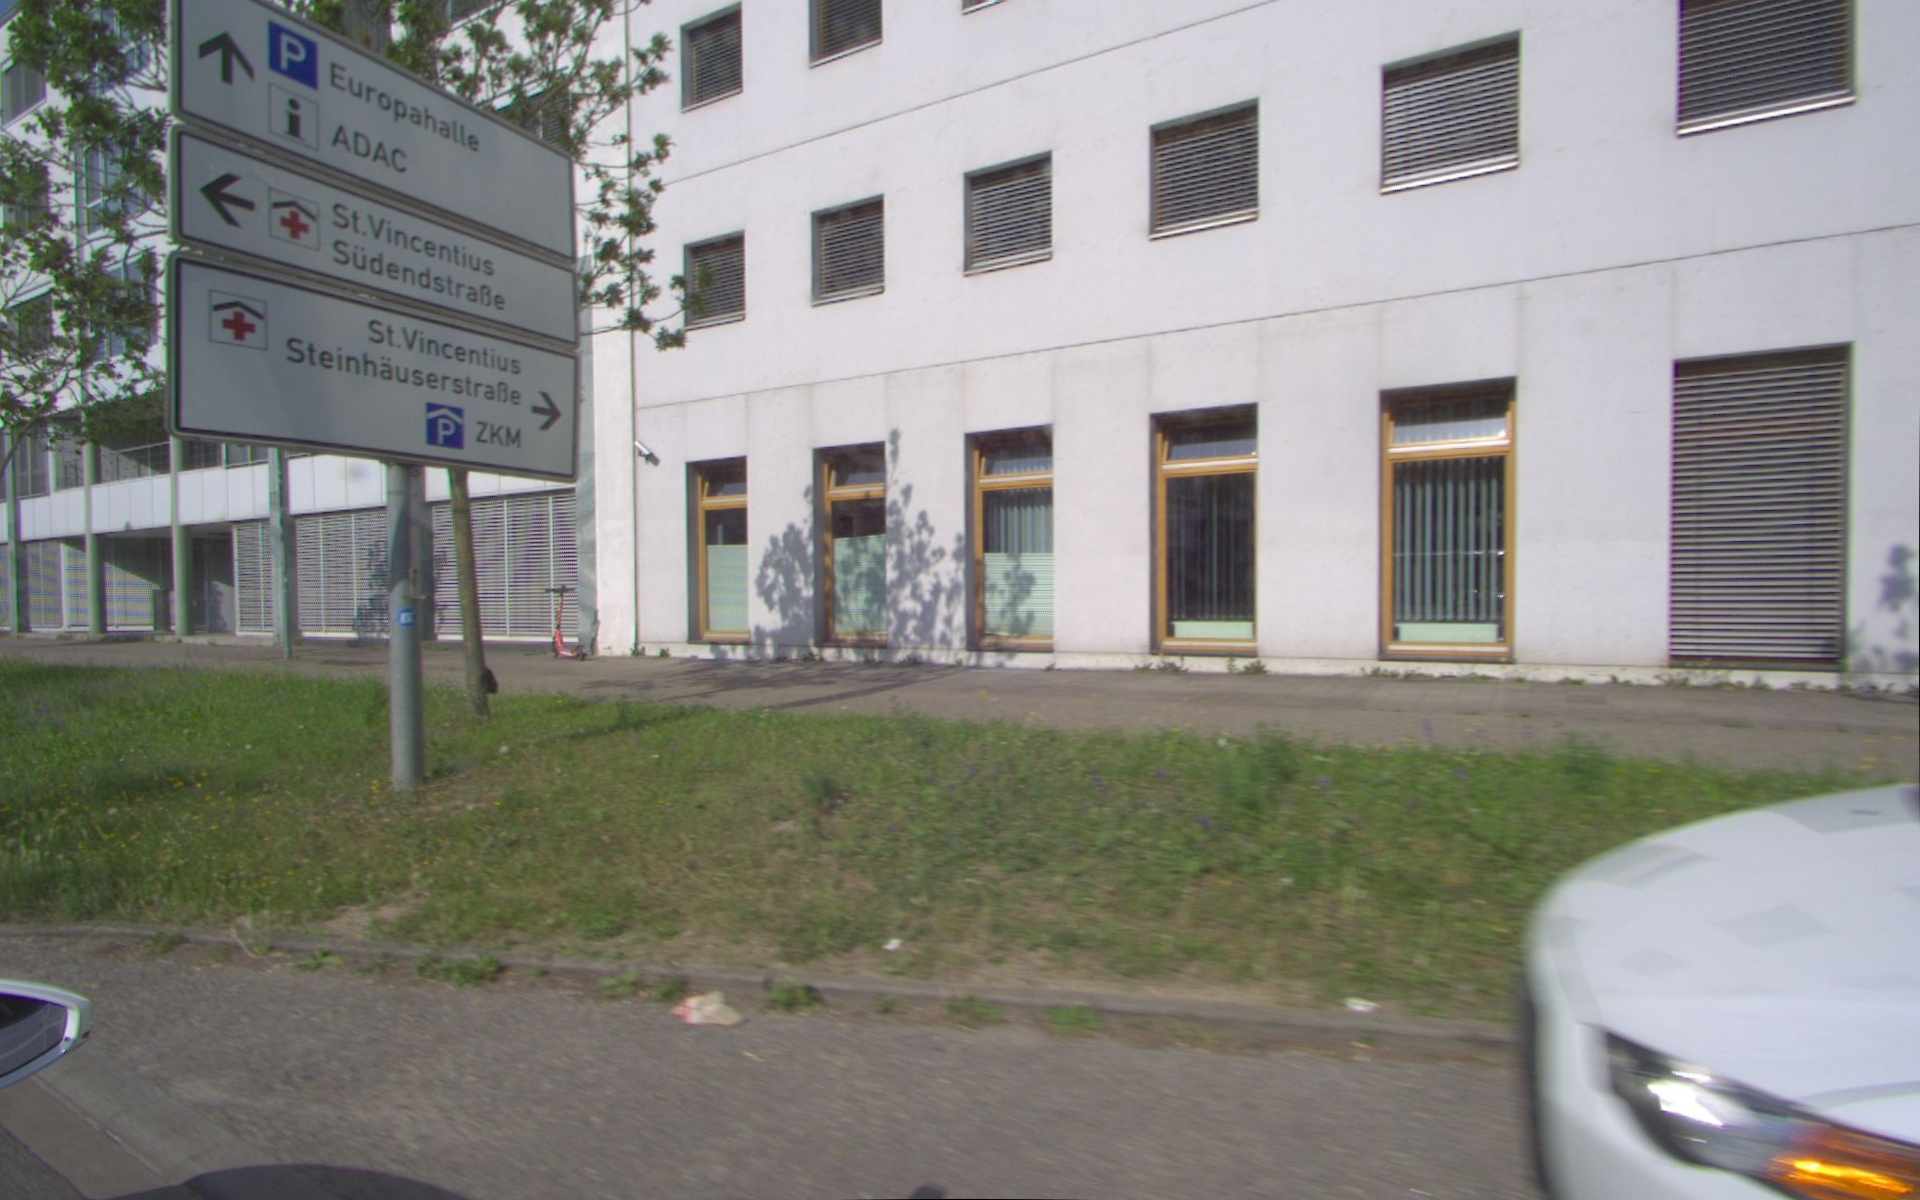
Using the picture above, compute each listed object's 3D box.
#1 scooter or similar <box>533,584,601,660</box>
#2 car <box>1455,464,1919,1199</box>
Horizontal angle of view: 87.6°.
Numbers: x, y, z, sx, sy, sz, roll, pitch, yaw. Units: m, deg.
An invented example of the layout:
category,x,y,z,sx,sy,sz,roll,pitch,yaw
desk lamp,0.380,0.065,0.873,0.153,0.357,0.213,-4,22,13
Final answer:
category,x,y,z,sx,sy,sz,roll,pitch,yaw
scooter or similar,-6.629,0.351,16.893,1.238,1.230,0.460,1,3,37
car,2.771,0.615,1.266,3.791,1.546,1.687,0,1,29
